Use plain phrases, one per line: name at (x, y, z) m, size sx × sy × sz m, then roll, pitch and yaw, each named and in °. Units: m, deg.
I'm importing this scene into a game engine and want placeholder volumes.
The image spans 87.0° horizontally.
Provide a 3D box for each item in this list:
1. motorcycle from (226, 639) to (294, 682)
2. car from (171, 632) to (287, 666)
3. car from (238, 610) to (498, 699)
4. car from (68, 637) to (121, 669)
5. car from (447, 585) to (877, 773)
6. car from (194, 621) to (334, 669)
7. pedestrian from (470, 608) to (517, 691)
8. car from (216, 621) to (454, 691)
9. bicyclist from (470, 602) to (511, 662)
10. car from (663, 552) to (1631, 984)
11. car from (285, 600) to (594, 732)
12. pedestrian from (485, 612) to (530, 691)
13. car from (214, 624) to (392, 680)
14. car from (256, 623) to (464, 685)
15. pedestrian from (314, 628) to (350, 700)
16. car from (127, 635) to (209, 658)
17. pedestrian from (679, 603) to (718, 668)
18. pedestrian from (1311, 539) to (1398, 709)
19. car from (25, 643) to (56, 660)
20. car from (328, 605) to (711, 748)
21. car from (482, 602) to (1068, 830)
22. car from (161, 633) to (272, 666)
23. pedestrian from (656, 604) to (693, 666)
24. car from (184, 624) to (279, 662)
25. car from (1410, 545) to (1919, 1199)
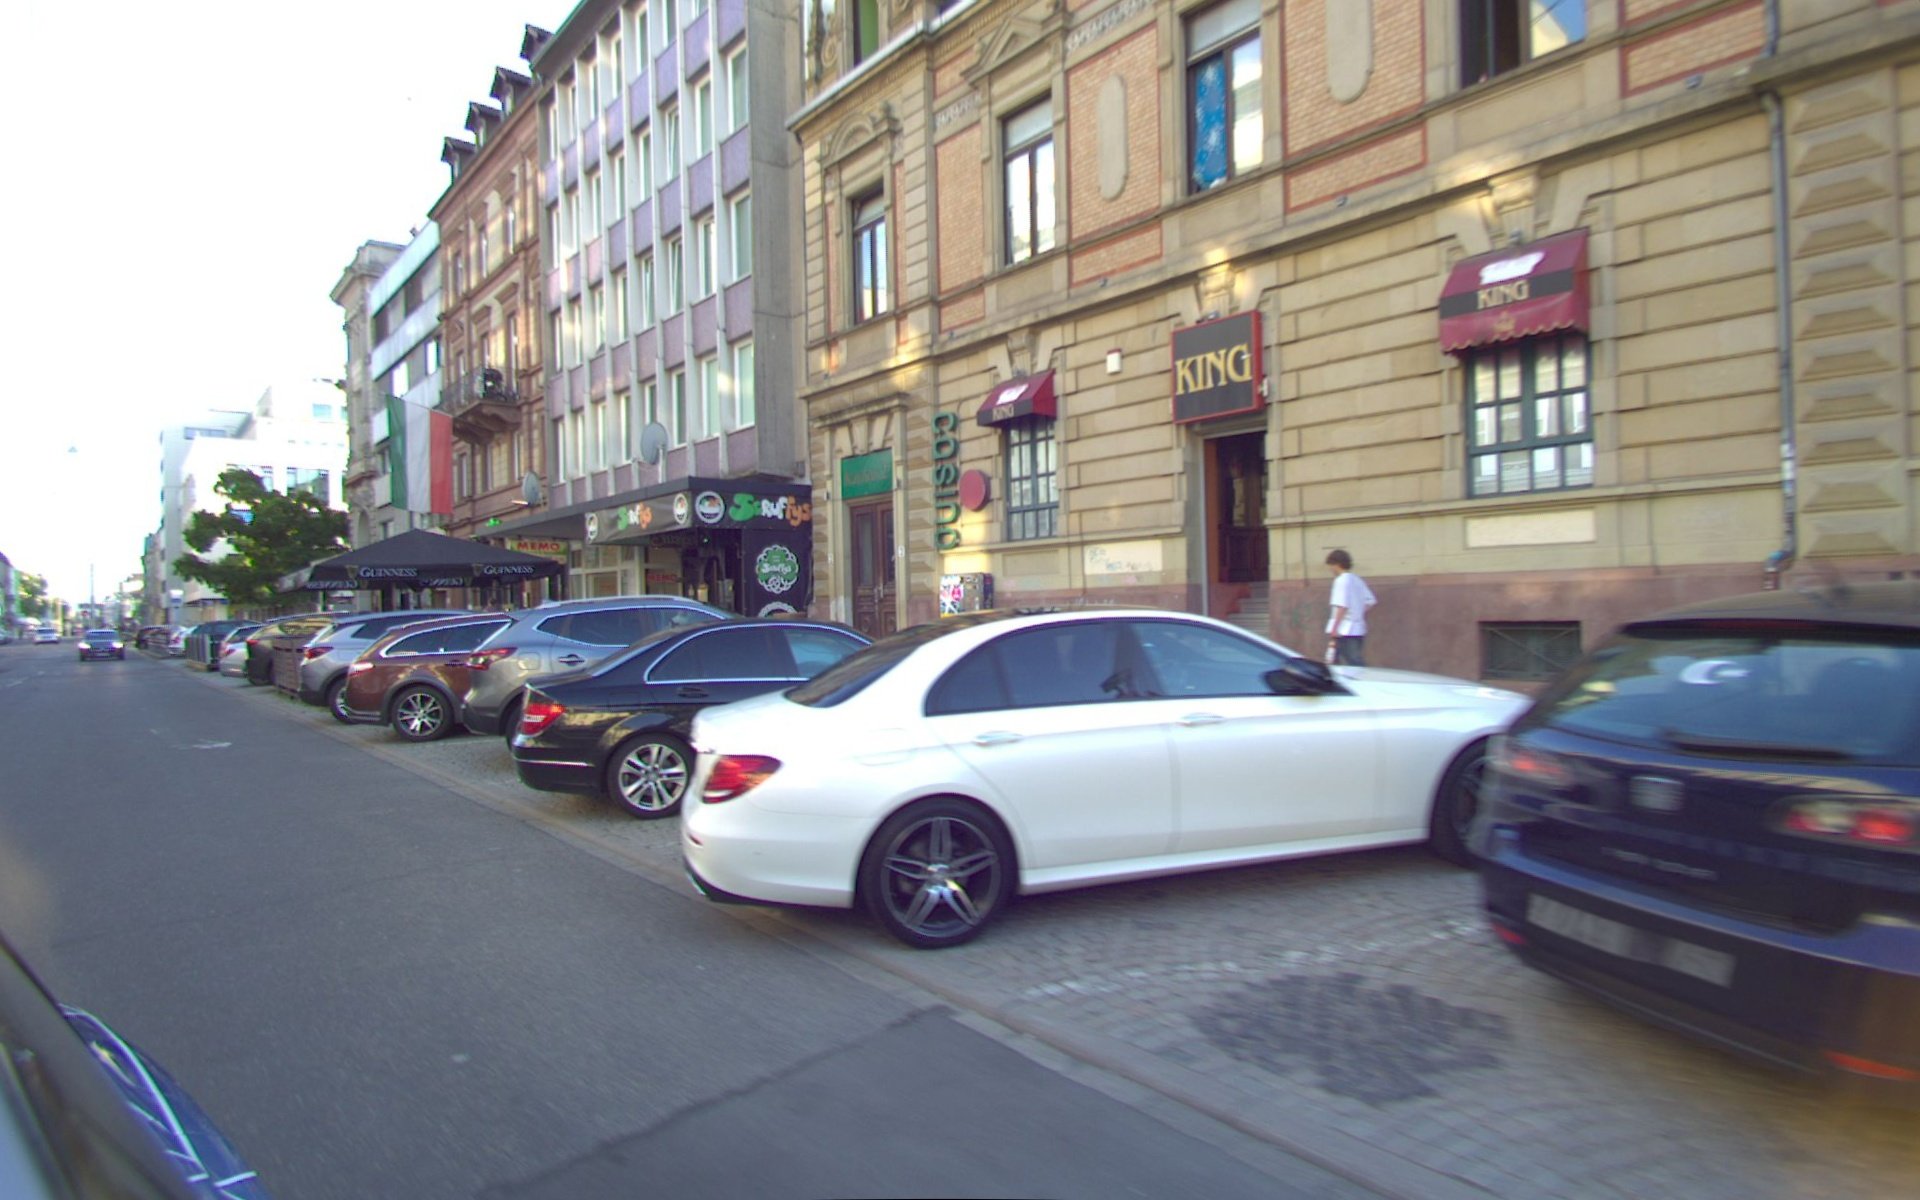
motorcycle at (-20.389, 1.762, 29.511) m, size 1.560 × 1.166 × 0.459 m, roll -1°, pitch 0°, yaw -26°
car at (-34.632, 2.300, 48.073) m, size 4.351 × 1.436 × 1.913 m, roll -1°, pitch -1°, yaw -33°
car at (-13.346, 1.196, 23.128) m, size 4.761 × 1.746 × 1.913 m, roll -2°, pitch -1°, yaw -14°
car at (-42.113, 2.546, 49.330) m, size 1.878 × 1.436 × 4.433 m, roll -1°, pitch -1°, yaw -40°
car at (-3.025, 0.747, 10.686) m, size 3.982 × 1.669 × 1.798 m, roll -1°, pitch -2°, yaw -15°
car at (-29.244, 1.870, 42.692) m, size 4.760 × 1.787 × 1.913 m, roll -1°, pitch -1°, yaw -33°
pedestrian at (-8.249, 0.870, 17.900) m, size 0.567 × 1.427 × 0.676 m, roll -1°, pitch -2°, yaw -41°
car at (-15.677, 1.380, 25.657) m, size 4.762 × 1.516 × 1.913 m, roll -2°, pitch -1°, yaw -11°
bicyclist at (-12.809, 0.866, 27.611) m, size 0.756 × 1.571 × 0.814 m, roll -2°, pitch 0°, yaw -42°
car at (0.873, 0.656, 5.391) m, size 4.552 × 1.523 × 1.773 m, roll -3°, pitch 0°, yaw -13°
car at (-7.830, 0.932, 15.667) m, size 3.982 × 1.641 × 1.859 m, roll -3°, pitch 0°, yaw -20°
pedestrian at (-8.452, 0.960, 18.882) m, size 0.567 × 1.427 × 0.676 m, roll -1°, pitch -2°, yaw -41°
car at (-21.451, 1.669, 33.145) m, size 4.763 × 1.580 × 1.912 m, roll -1°, pitch -1°, yaw -37°
car at (-16.755, 1.476, 28.571) m, size 4.758 × 1.516 × 1.914 m, roll -1°, pitch -1°, yaw -20°
pedestrian at (-12.792, 1.295, 20.621) m, size 0.567 × 1.427 × 0.543 m, roll -1°, pitch -1°, yaw -29°
car at (-55.529, 3.232, 71.018) m, size 4.351 × 1.436 × 1.913 m, roll -1°, pitch -1°, yaw -33°
pedestrian at (-5.439, 0.726, 21.015) m, size 0.565 × 1.318 × 0.576 m, roll -1°, pitch -1°, yaw -40°
pedestrian at (3.907, 0.223, 10.028) m, size 0.569 × 1.621 × 0.522 m, roll -3°, pitch 0°, yaw -40°
car at (-82.812, 4.597, 91.157) m, size 1.878 × 1.436 × 4.433 m, roll -1°, pitch -1°, yaw -40°
car at (-5.453, 0.907, 13.058) m, size 4.227 × 1.560 × 1.714 m, roll -2°, pitch -1°, yaw -10°
car at (-1.421, 0.805, 8.180) m, size 4.180 × 1.458 × 1.715 m, roll -1°, pitch -2°, yaw -15°
car at (-37.029, 2.465, 50.537) m, size 4.351 × 1.436 × 1.913 m, roll -1°, pitch -1°, yaw -33°
pedestrian at (-6.161, 0.750, 21.827) m, size 0.565 × 1.318 × 0.576 m, roll -1°, pitch -1°, yaw -40°
car at (-42.511, 2.490, 59.180) m, size 4.351 × 1.977 × 1.913 m, roll -1°, pitch -1°, yaw -33°
car at (3.686, 0.540, 3.228) m, size 3.798 × 1.471 × 1.746 m, roll -5°, pitch 0°, yaw -17°
